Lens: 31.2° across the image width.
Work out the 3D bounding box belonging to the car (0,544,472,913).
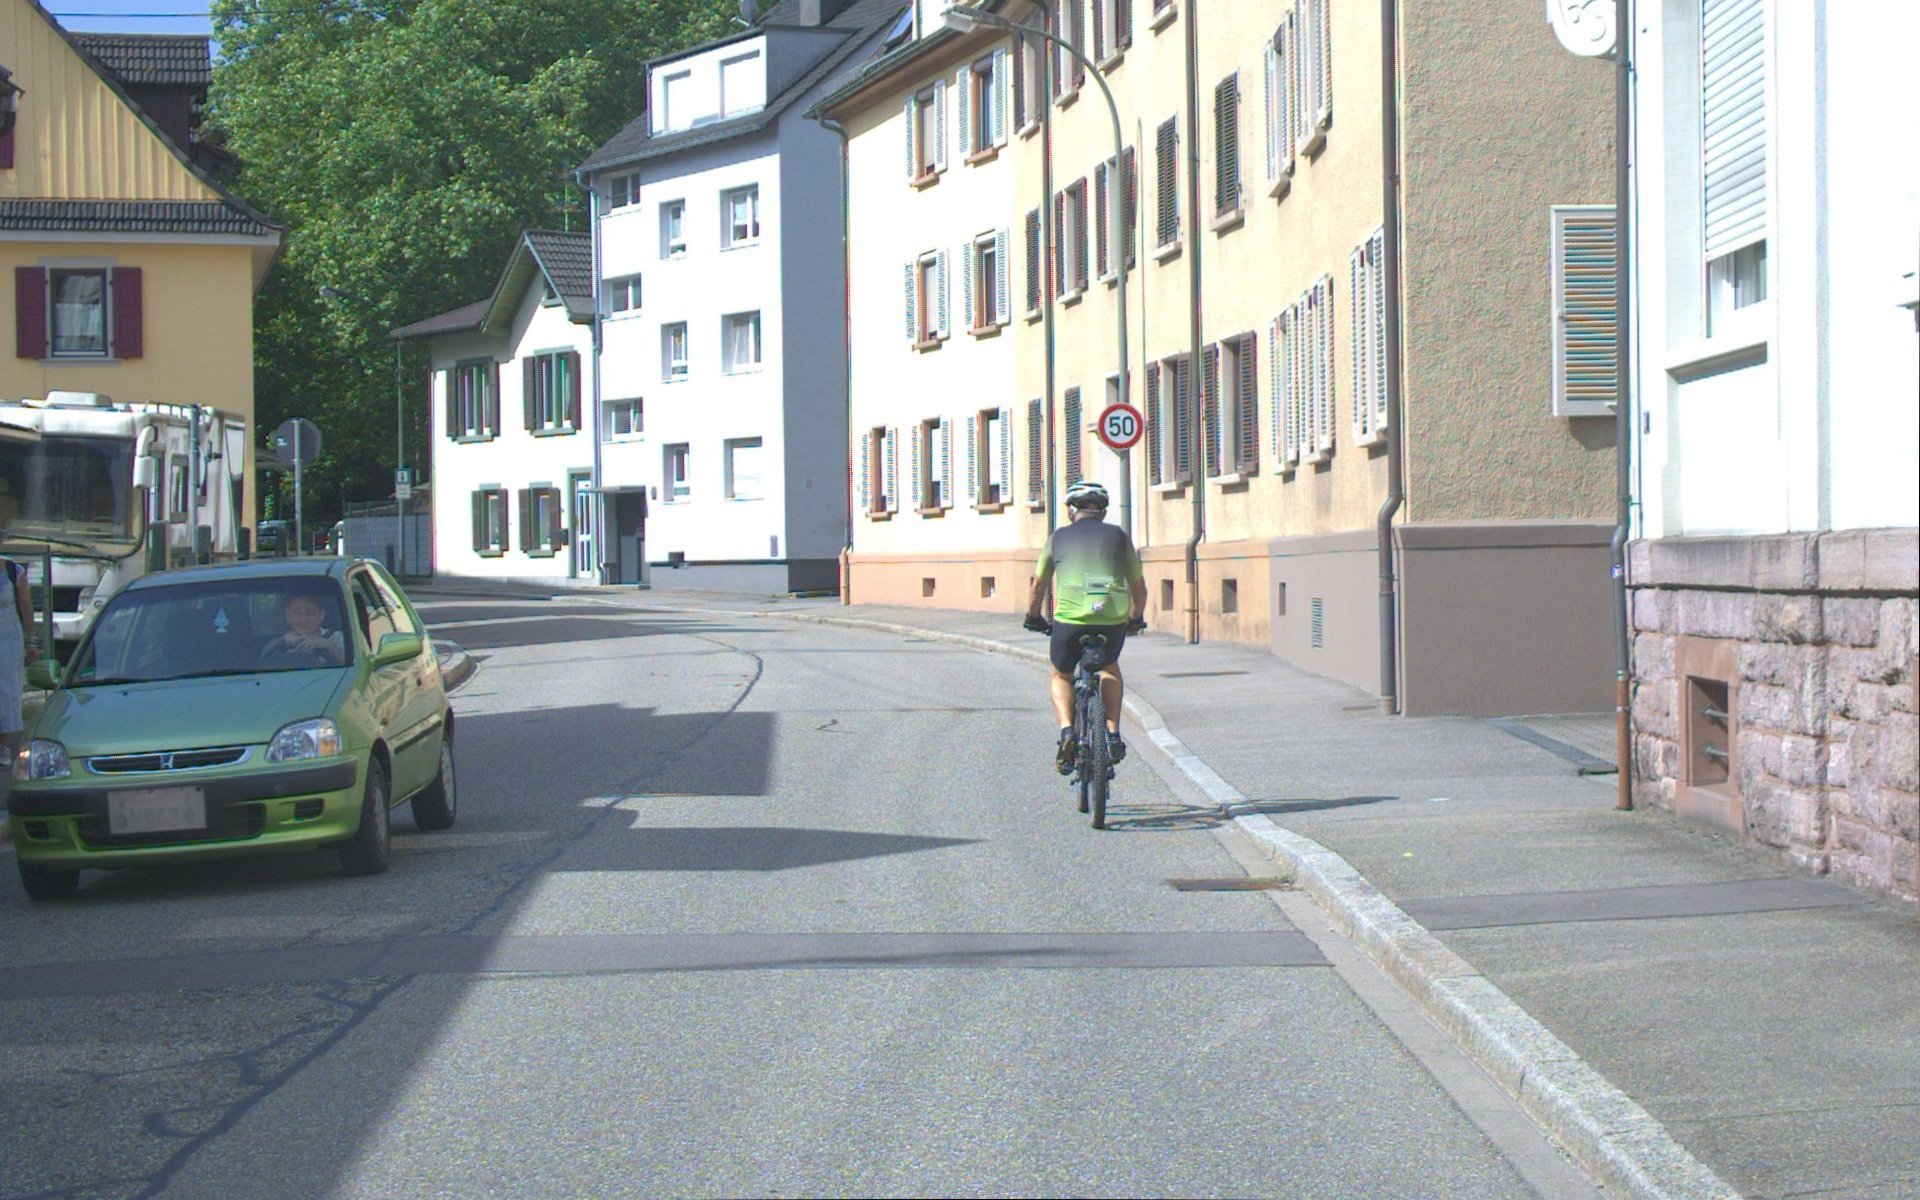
[{"bbox_3d":[-3.427,0.522,16.481,1.596,1.459,3.660,-4,1,-1],"label":"car"}]

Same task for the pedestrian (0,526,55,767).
[{"bbox_3d":[-6.678,0.300,23.682,0.639,1.621,0.777,2,1,-1],"label":"pedestrian"}]

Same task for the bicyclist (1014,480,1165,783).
[{"bbox_3d":[0.666,0.154,17.863,0.685,1.526,0.716,-2,1,-3],"label":"bicyclist"}]

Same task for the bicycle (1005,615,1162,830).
[{"bbox_3d":[0.628,0.618,17.950,0.698,1.032,1.471,0,1,-3],"label":"bicycle"}]

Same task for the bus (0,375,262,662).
[{"bbox_3d":[-10.838,-1.017,43.366,2.820,3.217,9.037,1,1,-4],"label":"bus"}]
